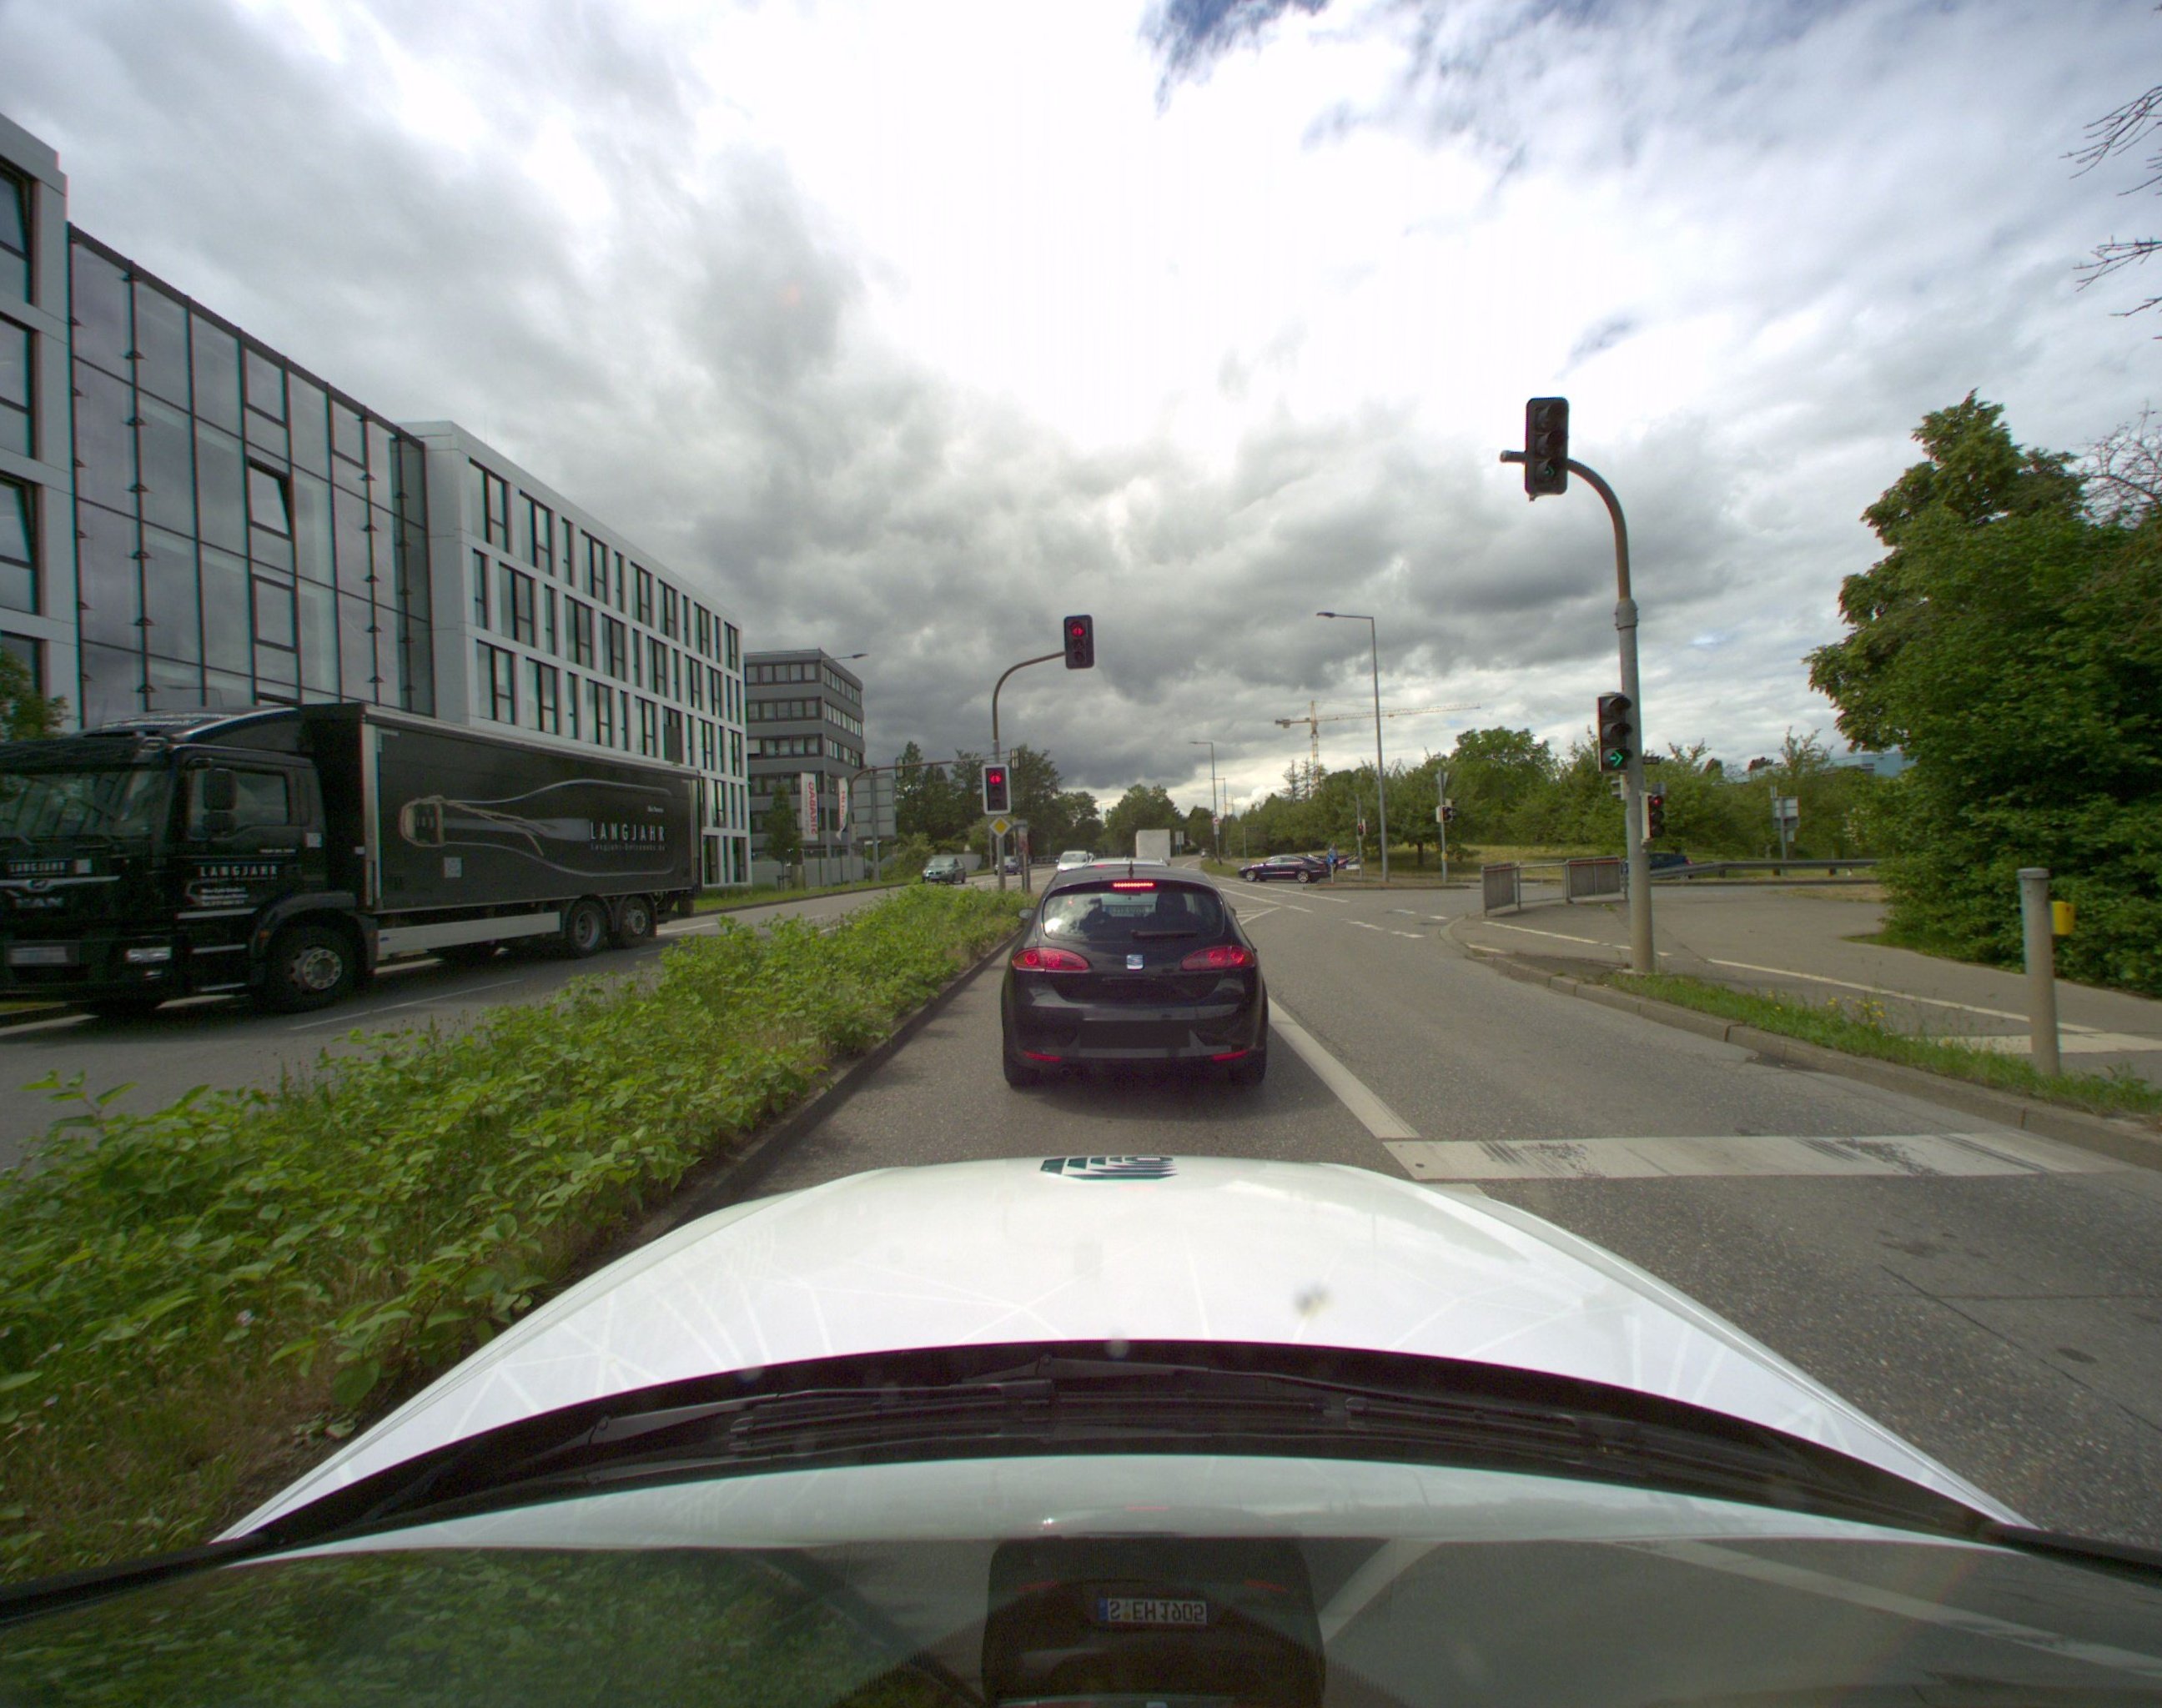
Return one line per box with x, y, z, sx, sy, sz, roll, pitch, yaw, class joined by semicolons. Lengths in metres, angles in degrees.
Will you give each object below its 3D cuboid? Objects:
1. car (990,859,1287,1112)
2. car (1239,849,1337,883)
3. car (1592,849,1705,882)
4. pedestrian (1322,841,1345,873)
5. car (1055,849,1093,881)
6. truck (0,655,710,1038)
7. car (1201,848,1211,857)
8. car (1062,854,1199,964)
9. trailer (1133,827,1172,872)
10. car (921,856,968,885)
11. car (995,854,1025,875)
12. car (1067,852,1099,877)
0.390;0.778;6.455;1.704;1.417;3.461;-1;0;2;car
10.495;0.566;41.388;4.413;1.565;2.013;1;1;32;car
25.898;0.533;37.264;3.858;1.446;1.763;0;-1;7;car
14.337;0.192;46.266;0.721;1.793;1.035;0;-1;-25;pedestrian
-0.358;0.594;46.368;1.812;1.686;4.650;0;0;4;car
-9.673;-0.068;12.336;3.154;3.518;9.536;-1;0;4;truck
23.194;-0.229;150.950;1.656;1.596;4.013;-1;-1;12;car
0.763;0.751;12.793;1.827;1.467;3.754;0;0;3;car
5.077;-0.292;58.603;2.482;3.073;5.589;0;-1;2;trailer
-7.303;0.849;43.843;1.598;1.432;3.757;-1;0;4;car
-5.290;0.761;61.376;1.546;1.419;3.902;-1;0;5;car
0.190;0.642;52.437;1.652;1.518;4.091;-1;0;6;car
